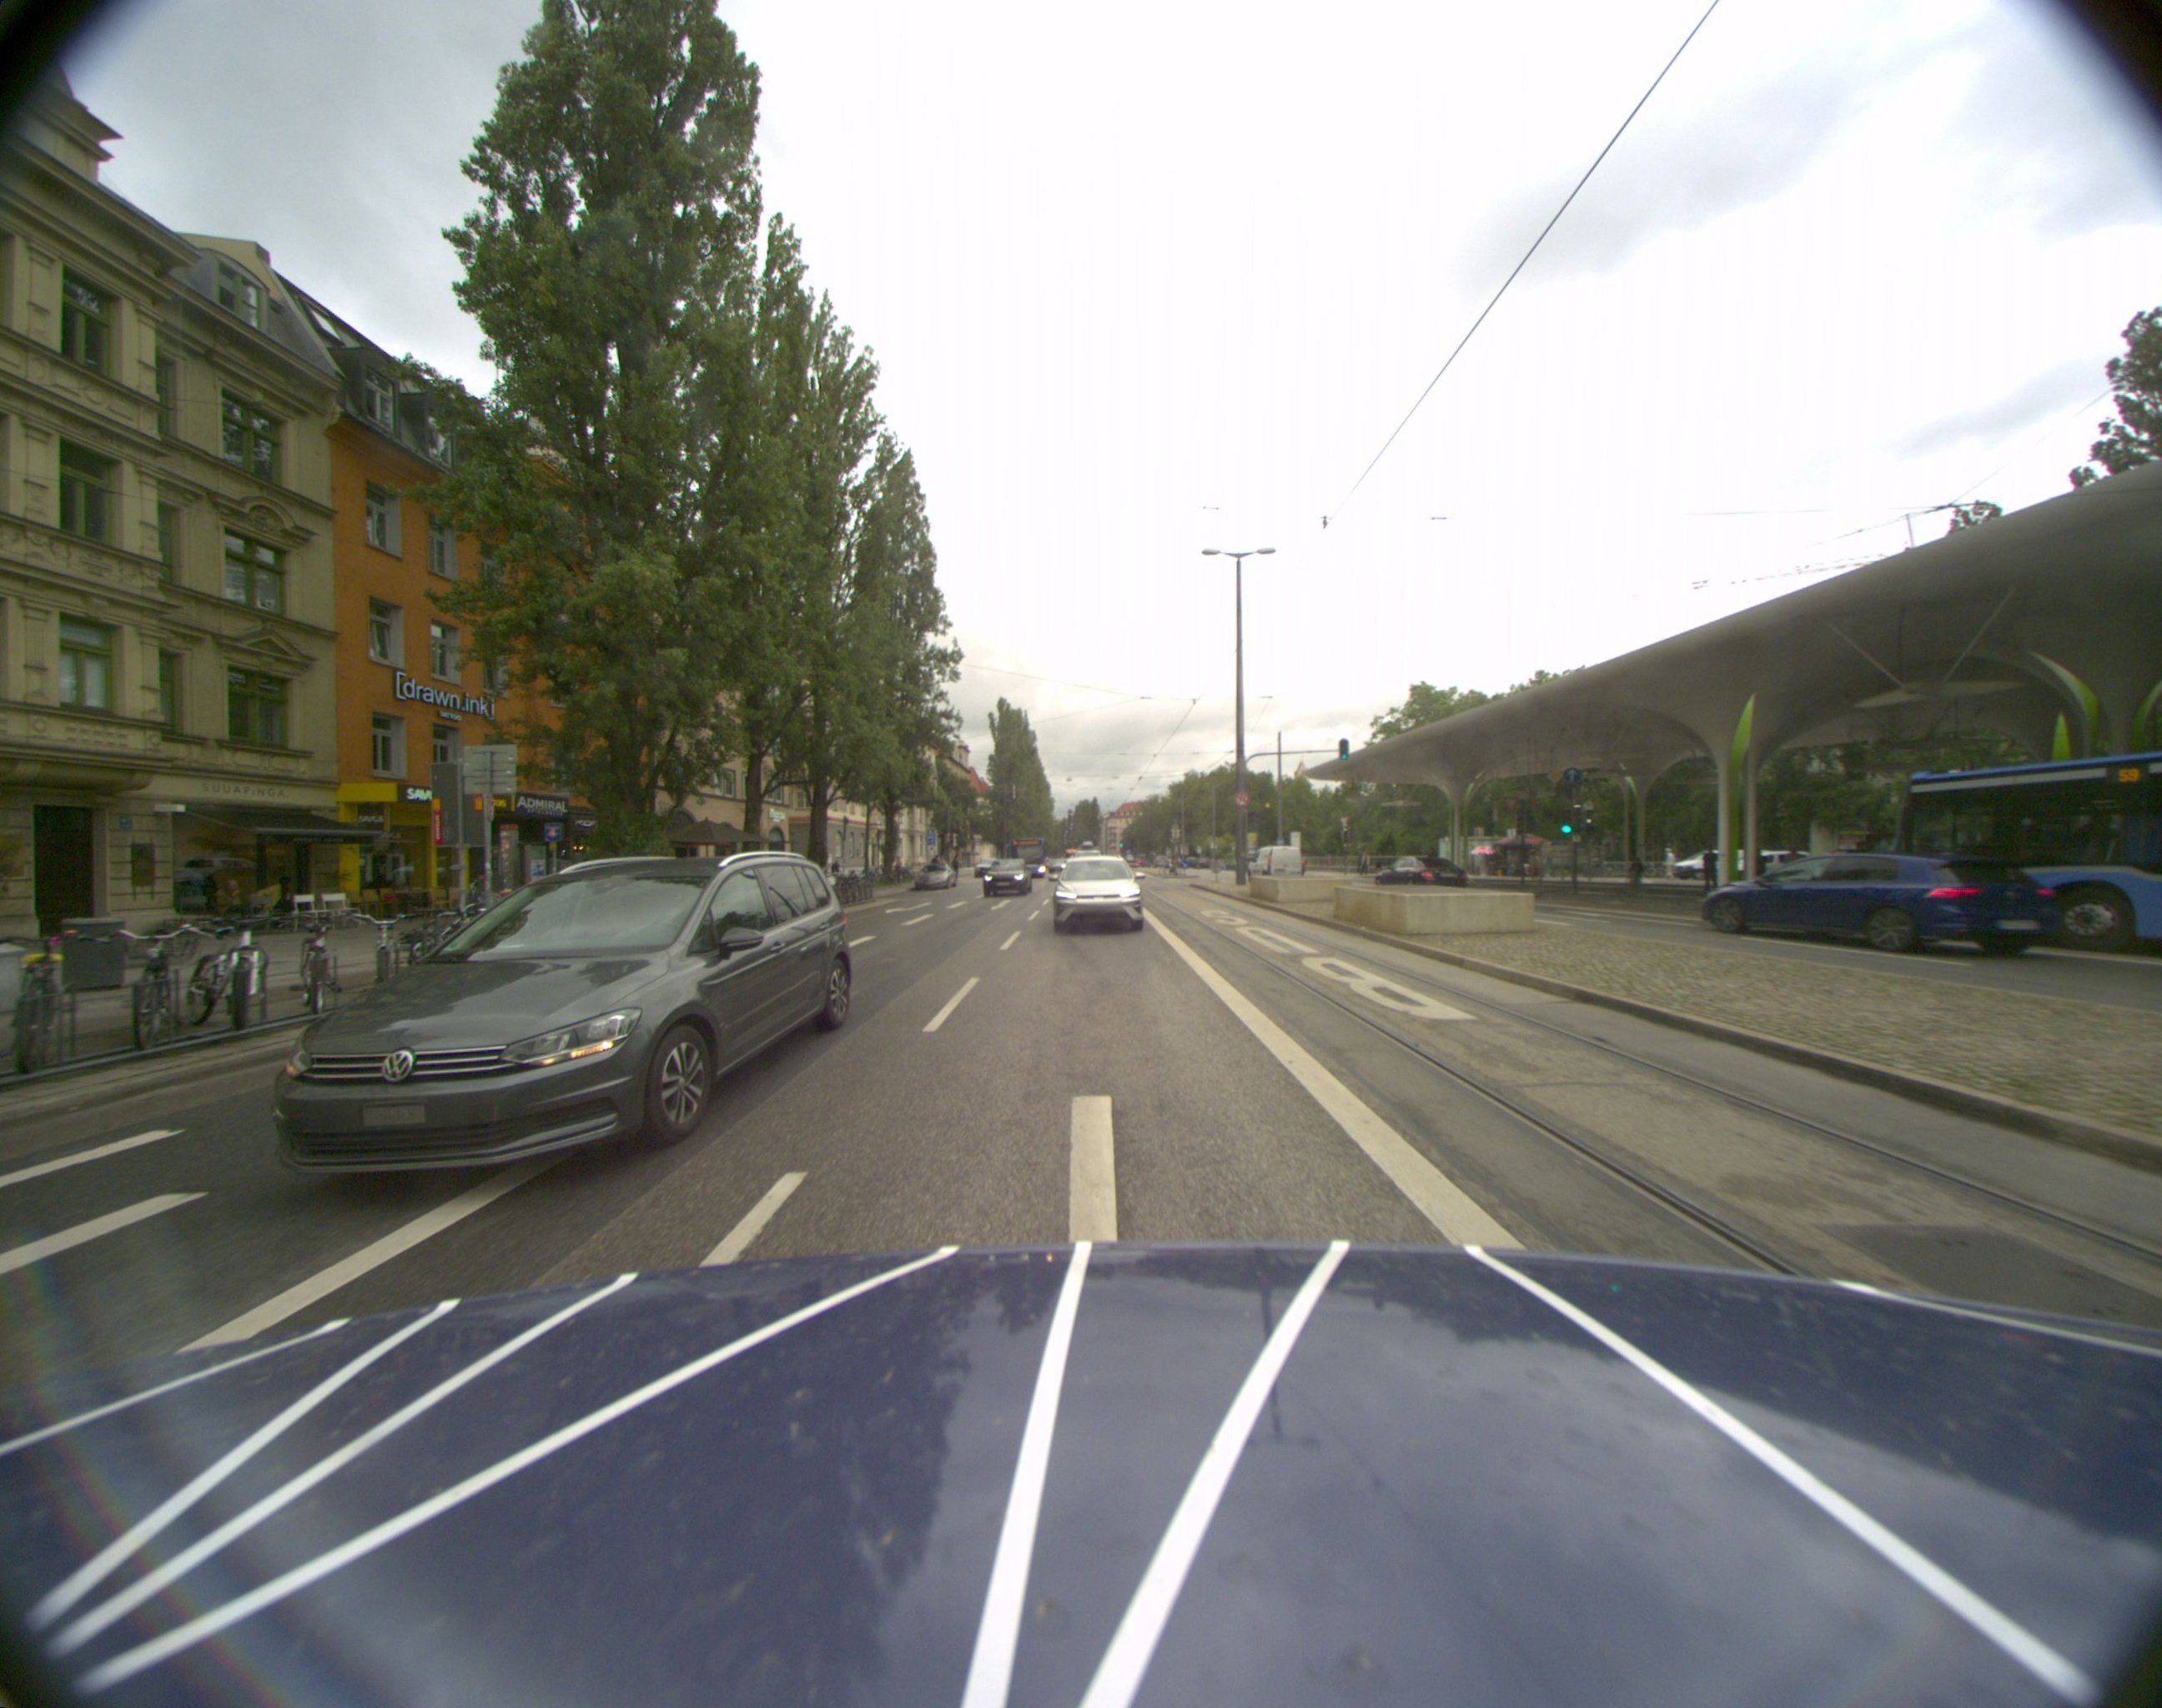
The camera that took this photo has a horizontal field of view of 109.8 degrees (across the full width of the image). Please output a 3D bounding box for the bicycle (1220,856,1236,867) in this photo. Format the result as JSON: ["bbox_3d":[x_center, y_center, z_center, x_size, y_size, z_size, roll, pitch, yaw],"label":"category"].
[{"bbox_3d":[16.798,0.856,86.859,1.693,1.165,0.561,-1,0,-9],"label":"bicycle"}]

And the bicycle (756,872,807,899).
[{"bbox_3d":[-12.253,1.289,31.062,1.892,1.048,0.458,-1,1,2],"label":"bicycle"}]

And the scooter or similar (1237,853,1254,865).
[{"bbox_3d":[17.256,0.508,79.865,1.692,1.165,0.562,-1,1,-2],"label":"scooter or similar"}]

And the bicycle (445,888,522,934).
[{"bbox_3d":[-14.013,1.339,17.814,1.725,1.039,0.388,-2,-1,12],"label":"bicycle"}]

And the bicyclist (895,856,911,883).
[{"bbox_3d":[-10.507,0.908,44.792,0.681,1.594,0.939,-1,1,1],"label":"bicyclist"}]

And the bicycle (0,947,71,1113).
[{"bbox_3d":[-8.281,1.318,5.934,1.836,0.990,0.349,1,1,40],"label":"bicycle"}]

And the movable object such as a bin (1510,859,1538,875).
[{"bbox_3d":[29.454,0.873,50.564,1.336,1.078,0.957,0,0,0],"label":"movable object such as a bin"}]

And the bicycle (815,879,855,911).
[{"bbox_3d":[-8.014,1.331,24.738,1.837,0.990,0.376,-2,-1,43],"label":"bicycle"}]

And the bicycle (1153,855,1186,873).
[{"bbox_3d":[6.061,0.687,51.909,2.233,1.144,0.505,-2,1,-20],"label":"bicycle"}]

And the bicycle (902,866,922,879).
[{"bbox_3d":[-13.284,1.457,59.834,0.391,0.972,1.842,-1,1,27],"label":"bicycle"}]

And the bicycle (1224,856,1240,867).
[{"bbox_3d":[16.750,0.860,84.322,1.696,1.165,0.560,-1,0,-29],"label":"bicycle"}]

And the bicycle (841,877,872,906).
[{"bbox_3d":[-7.975,1.328,26.945,0.376,0.990,1.837,-1,-1,-38],"label":"bicycle"}]

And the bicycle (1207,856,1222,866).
[{"bbox_3d":[15.983,0.890,91.068,1.693,1.165,0.505,-1,0,-6],"label":"bicycle"}]

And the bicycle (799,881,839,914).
[{"bbox_3d":[-8.098,1.336,23.434,0.376,0.990,1.837,-1,-1,-45],"label":"bicycle"}]

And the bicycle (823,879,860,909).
[{"bbox_3d":[-8.042,1.332,25.488,0.376,0.990,1.837,-1,-1,-44],"label":"bicycle"}]

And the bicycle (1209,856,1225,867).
[{"bbox_3d":[16.083,0.886,89.785,1.693,1.165,0.561,-1,0,-9],"label":"bicycle"}]

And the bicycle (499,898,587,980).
[{"bbox_3d":[-8.293,1.273,11.681,1.837,1.106,0.468,0,0,33],"label":"bicycle"}]

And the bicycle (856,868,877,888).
[{"bbox_3d":[-11.146,1.235,39.463,0.590,0.959,1.653,-1,0,1],"label":"bicycle"}]

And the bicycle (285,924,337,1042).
[{"bbox_3d":[-8.240,1.318,8.132,1.836,0.990,0.349,1,1,45],"label":"bicycle"}]

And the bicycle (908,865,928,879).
[{"bbox_3d":[-12.836,1.429,59.783,0.391,1.017,1.842,-1,1,27],"label":"bicycle"}]

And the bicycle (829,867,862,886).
[{"bbox_3d":[-13.901,1.334,44.847,1.801,1.103,0.447,-1,0,3],"label":"bicycle"}]

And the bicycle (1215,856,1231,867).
[{"bbox_3d":[16.453,0.871,88.028,1.693,1.165,0.561,-1,0,-9],"label":"bicycle"}]

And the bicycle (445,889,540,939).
[{"bbox_3d":[-13.105,1.337,16.949,1.727,1.039,0.387,-1,-1,-5],"label":"bicycle"}]

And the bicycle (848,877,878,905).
[{"bbox_3d":[-7.919,1.325,27.586,0.376,0.990,1.837,-1,-1,-38],"label":"bicycle"}]

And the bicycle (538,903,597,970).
[{"bbox_3d":[-8.428,1.323,12.438,1.837,0.990,0.326,-2,-1,41],"label":"bicycle"}]

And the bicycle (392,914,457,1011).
[{"bbox_3d":[-8.262,1.318,9.540,1.836,0.990,0.349,1,1,41],"label":"bicycle"}]

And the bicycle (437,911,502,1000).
[{"bbox_3d":[-8.229,1.316,10.204,1.836,0.990,0.349,1,1,41],"label":"bicycle"}]

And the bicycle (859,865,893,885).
[{"bbox_3d":[-12.082,1.249,44.832,1.801,1.103,0.447,-3,0,3],"label":"bicycle"}]

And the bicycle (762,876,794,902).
[{"bbox_3d":[-11.502,1.320,28.858,0.458,0.887,1.893,-1,0,0],"label":"bicycle"}]

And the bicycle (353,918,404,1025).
[{"bbox_3d":[-8.202,1.315,8.849,1.836,0.990,0.349,1,1,45],"label":"bicycle"}]

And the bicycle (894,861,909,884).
[{"bbox_3d":[-10.597,1.089,44.876,0.424,1.280,1.778,-1,0,2],"label":"bicycle"}]

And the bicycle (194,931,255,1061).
[{"bbox_3d":[-8.360,1.320,7.399,1.836,0.990,0.349,1,1,40],"label":"bicycle"}]

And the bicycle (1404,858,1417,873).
[{"bbox_3d":[24.288,0.843,56.052,0.479,1.090,1.851,0,0,12],"label":"bicycle"}]

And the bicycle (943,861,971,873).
[{"bbox_3d":[-13.368,1.393,82.045,2.922,1.141,0.639,-2,1,-17],"label":"bicycle"}]

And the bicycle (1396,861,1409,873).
[{"bbox_3d":[23.747,0.939,56.170,0.479,0.889,1.850,0,0,9],"label":"bicycle"}]

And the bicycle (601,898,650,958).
[{"bbox_3d":[-8.232,1.313,13.704,0.326,0.990,1.837,-1,-1,-45],"label":"bicycle"}]

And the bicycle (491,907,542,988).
[{"bbox_3d":[-8.174,1.312,10.978,0.326,0.990,1.837,-1,1,-45],"label":"bicycle"}]

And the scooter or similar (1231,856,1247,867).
[{"bbox_3d":[17.317,0.834,83.233,1.695,1.165,0.561,-1,0,-18],"label":"scooter or similar"}]

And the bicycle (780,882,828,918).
[{"bbox_3d":[-8.047,1.335,22.059,1.837,0.990,0.376,-2,-1,38],"label":"bicycle"}]

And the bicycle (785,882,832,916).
[{"bbox_3d":[-8.149,1.339,22.697,1.837,0.990,0.376,-2,-1,38],"label":"bicycle"}]

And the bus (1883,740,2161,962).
[{"bbox_3d":[15.874,-0.008,8.439,2.667,2.990,10.514,1,0,-1],"label":"bus"}]

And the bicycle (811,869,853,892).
[{"bbox_3d":[-12.031,1.281,36.743,1.892,1.048,0.458,-1,1,-2],"label":"bicycle"}]

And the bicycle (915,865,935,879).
[{"bbox_3d":[-12.227,1.413,59.699,0.445,1.017,1.842,-1,1,27],"label":"bicycle"}]

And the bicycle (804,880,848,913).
[{"bbox_3d":[-8.085,1.335,24.057,1.837,0.990,0.376,-2,-1,39],"label":"bicycle"}]

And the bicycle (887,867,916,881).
[{"bbox_3d":[-11.957,1.324,50.621,1.837,0.911,0.392,-2,1,2],"label":"bicycle"}]

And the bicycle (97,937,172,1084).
[{"bbox_3d":[-8.367,1.321,6.744,1.836,0.990,0.349,1,1,40],"label":"bicycle"}]

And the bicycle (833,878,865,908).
[{"bbox_3d":[-8.008,1.330,26.182,0.376,0.990,1.837,-1,-1,-38],"label":"bicycle"}]

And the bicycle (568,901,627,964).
[{"bbox_3d":[-8.306,1.317,13.012,1.837,0.990,0.326,-2,-1,41],"label":"bicycle"}]

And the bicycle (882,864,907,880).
[{"bbox_3d":[-14.754,1.432,60.221,1.890,1.147,0.464,-2,1,-41],"label":"bicycle"}]

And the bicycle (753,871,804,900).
[{"bbox_3d":[-12.737,1.310,31.986,1.892,1.167,0.582,-1,1,2],"label":"bicycle"}]

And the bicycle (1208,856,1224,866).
[{"bbox_3d":[16.056,0.887,90.370,1.693,1.165,0.505,-1,0,-7],"label":"bicycle"}]

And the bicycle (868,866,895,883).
[{"bbox_3d":[-12.793,1.324,48.664,1.576,1.044,0.392,-2,1,2],"label":"bicycle"}]
